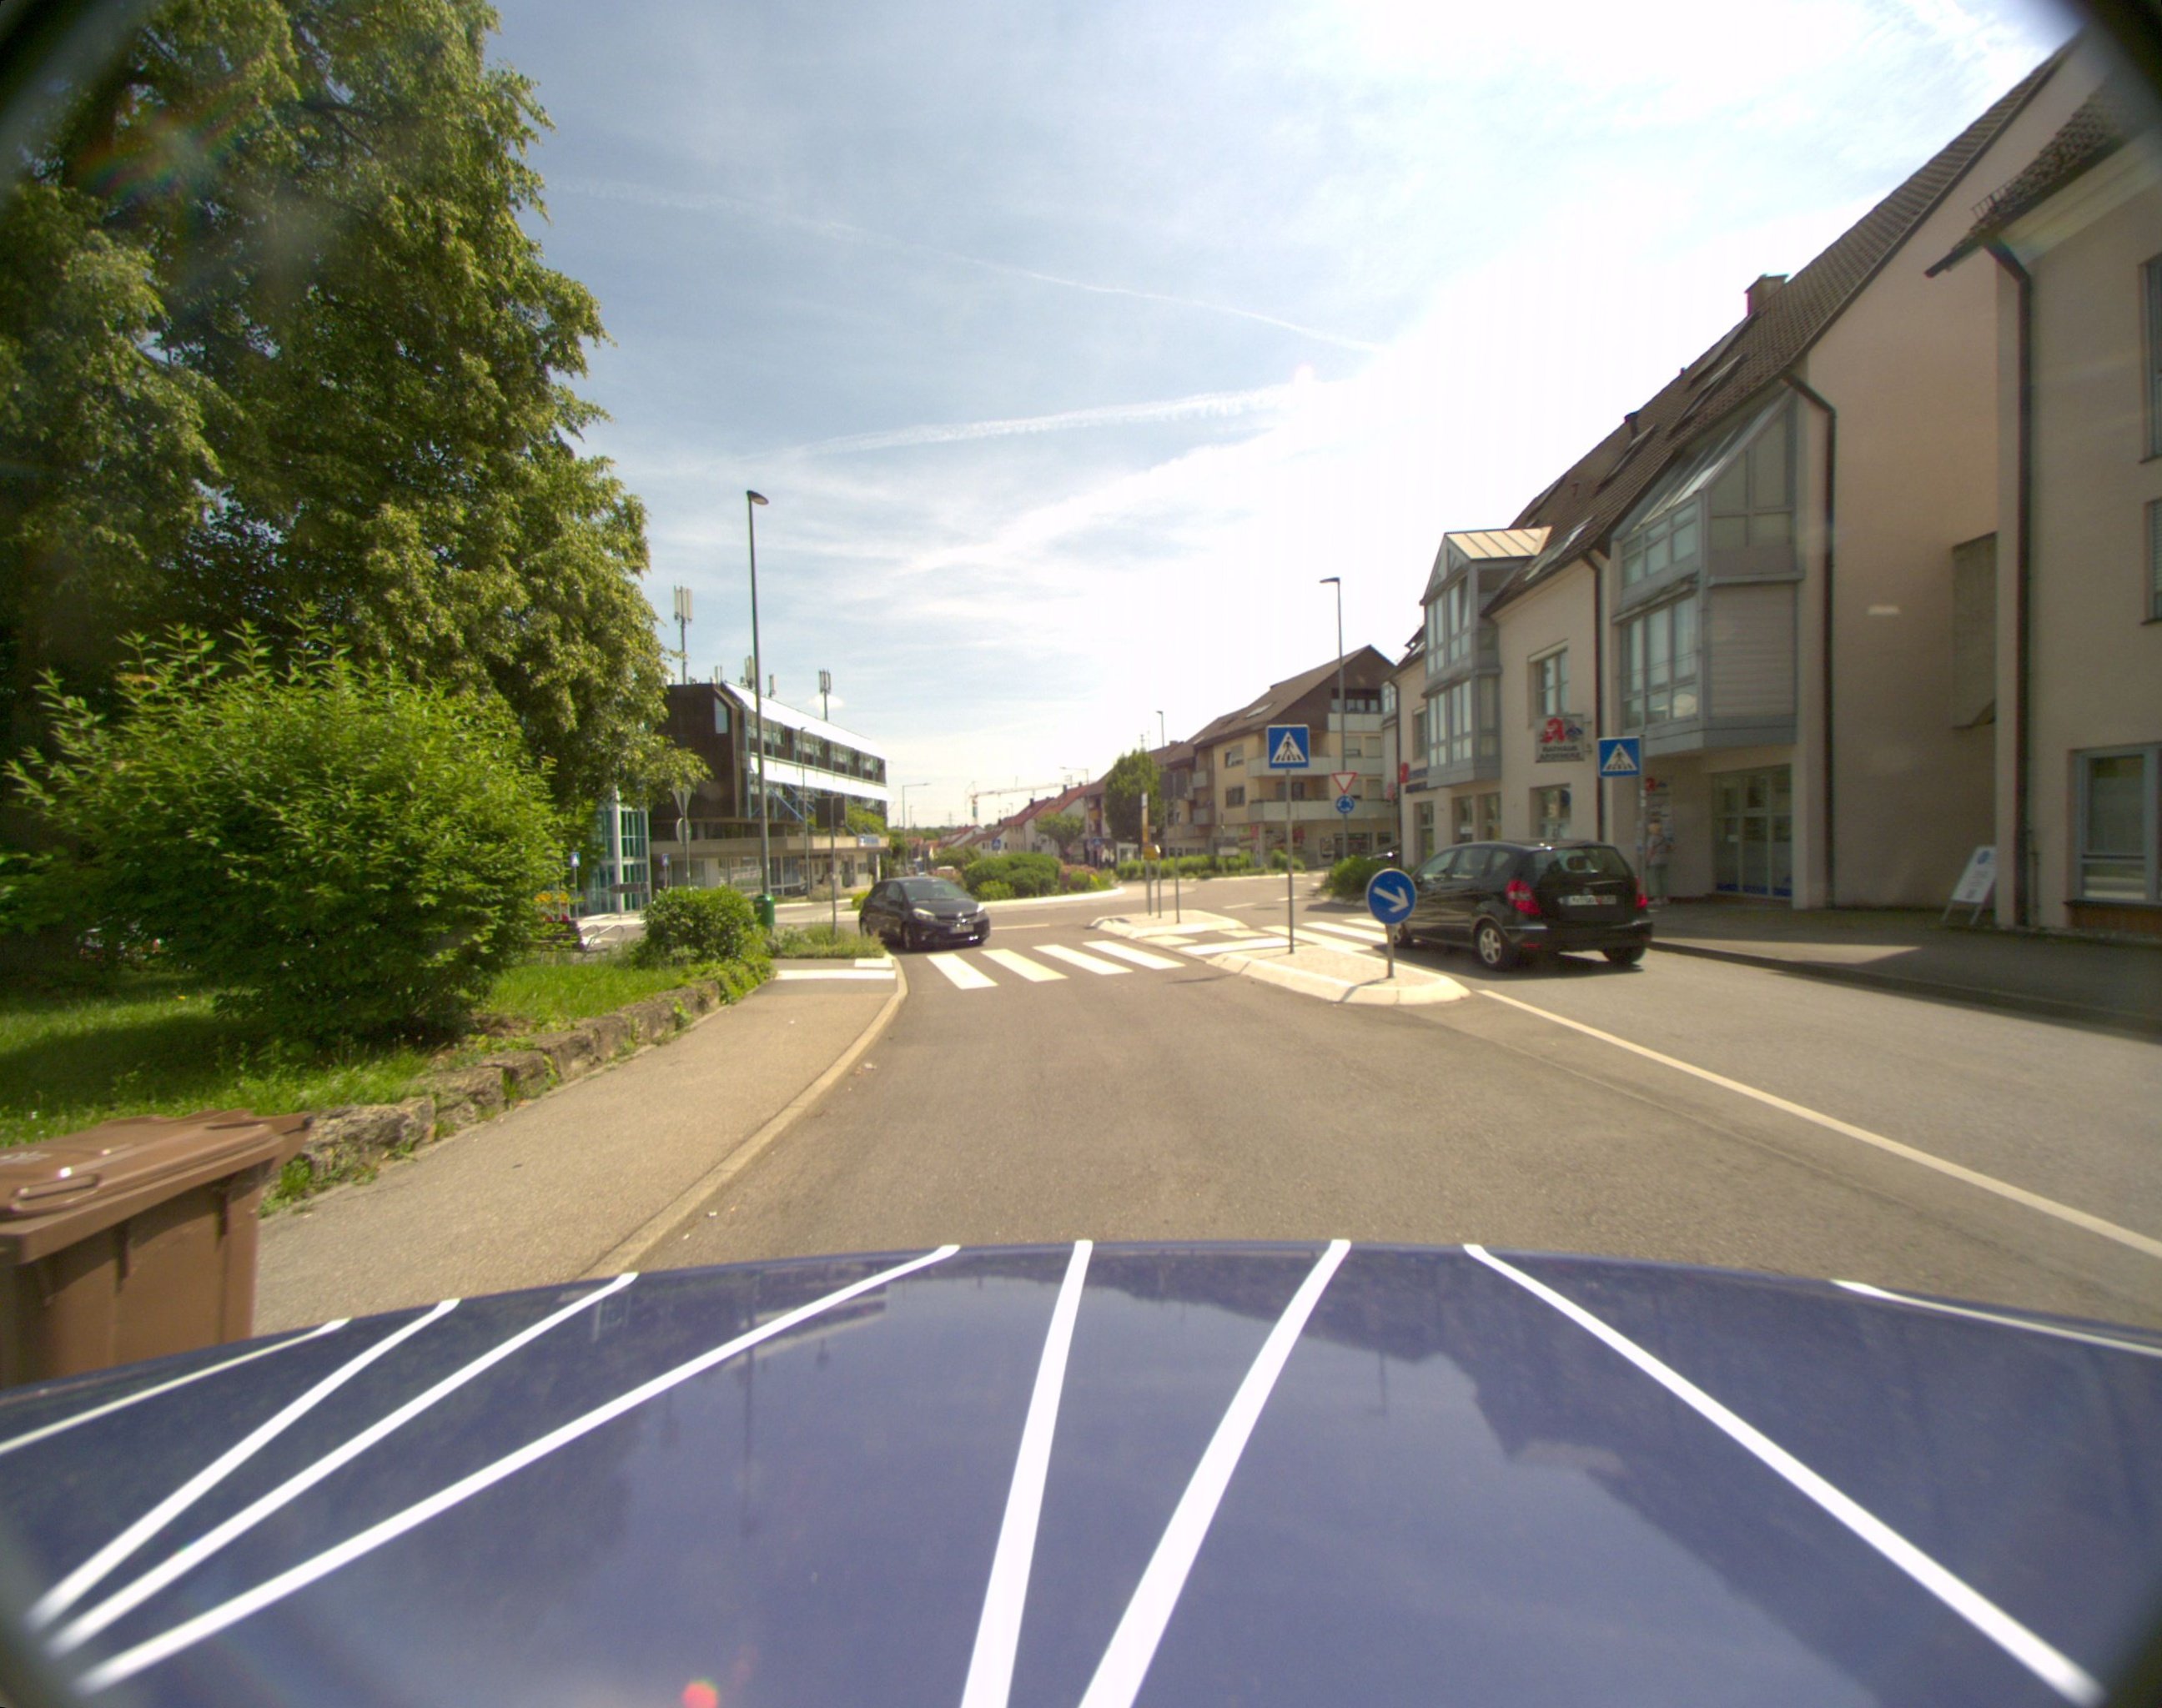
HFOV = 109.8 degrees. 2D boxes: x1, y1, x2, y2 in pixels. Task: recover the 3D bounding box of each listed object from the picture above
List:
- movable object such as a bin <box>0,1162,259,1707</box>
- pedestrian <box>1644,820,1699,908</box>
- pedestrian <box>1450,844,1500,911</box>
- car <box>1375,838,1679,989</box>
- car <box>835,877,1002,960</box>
[{"bbox_3d":[-2.021,1.157,1.363,0.501,0.987,0.503,-2,0,-1],"label":"movable object such as a bin"},{"bbox_3d":[11.765,0.191,15.152,0.576,1.699,0.580,-3,0,8],"label":"pedestrian"},{"bbox_3d":[8.972,0.524,17.333,0.801,1.469,0.958,-2,0,17],"label":"pedestrian"},{"bbox_3d":[5.634,0.652,10.272,1.756,1.575,3.945,-2,0,0],"label":"car"},{"bbox_3d":[-3.682,1.284,16.612,1.729,1.448,4.418,-3,1,-38],"label":"car"}]
